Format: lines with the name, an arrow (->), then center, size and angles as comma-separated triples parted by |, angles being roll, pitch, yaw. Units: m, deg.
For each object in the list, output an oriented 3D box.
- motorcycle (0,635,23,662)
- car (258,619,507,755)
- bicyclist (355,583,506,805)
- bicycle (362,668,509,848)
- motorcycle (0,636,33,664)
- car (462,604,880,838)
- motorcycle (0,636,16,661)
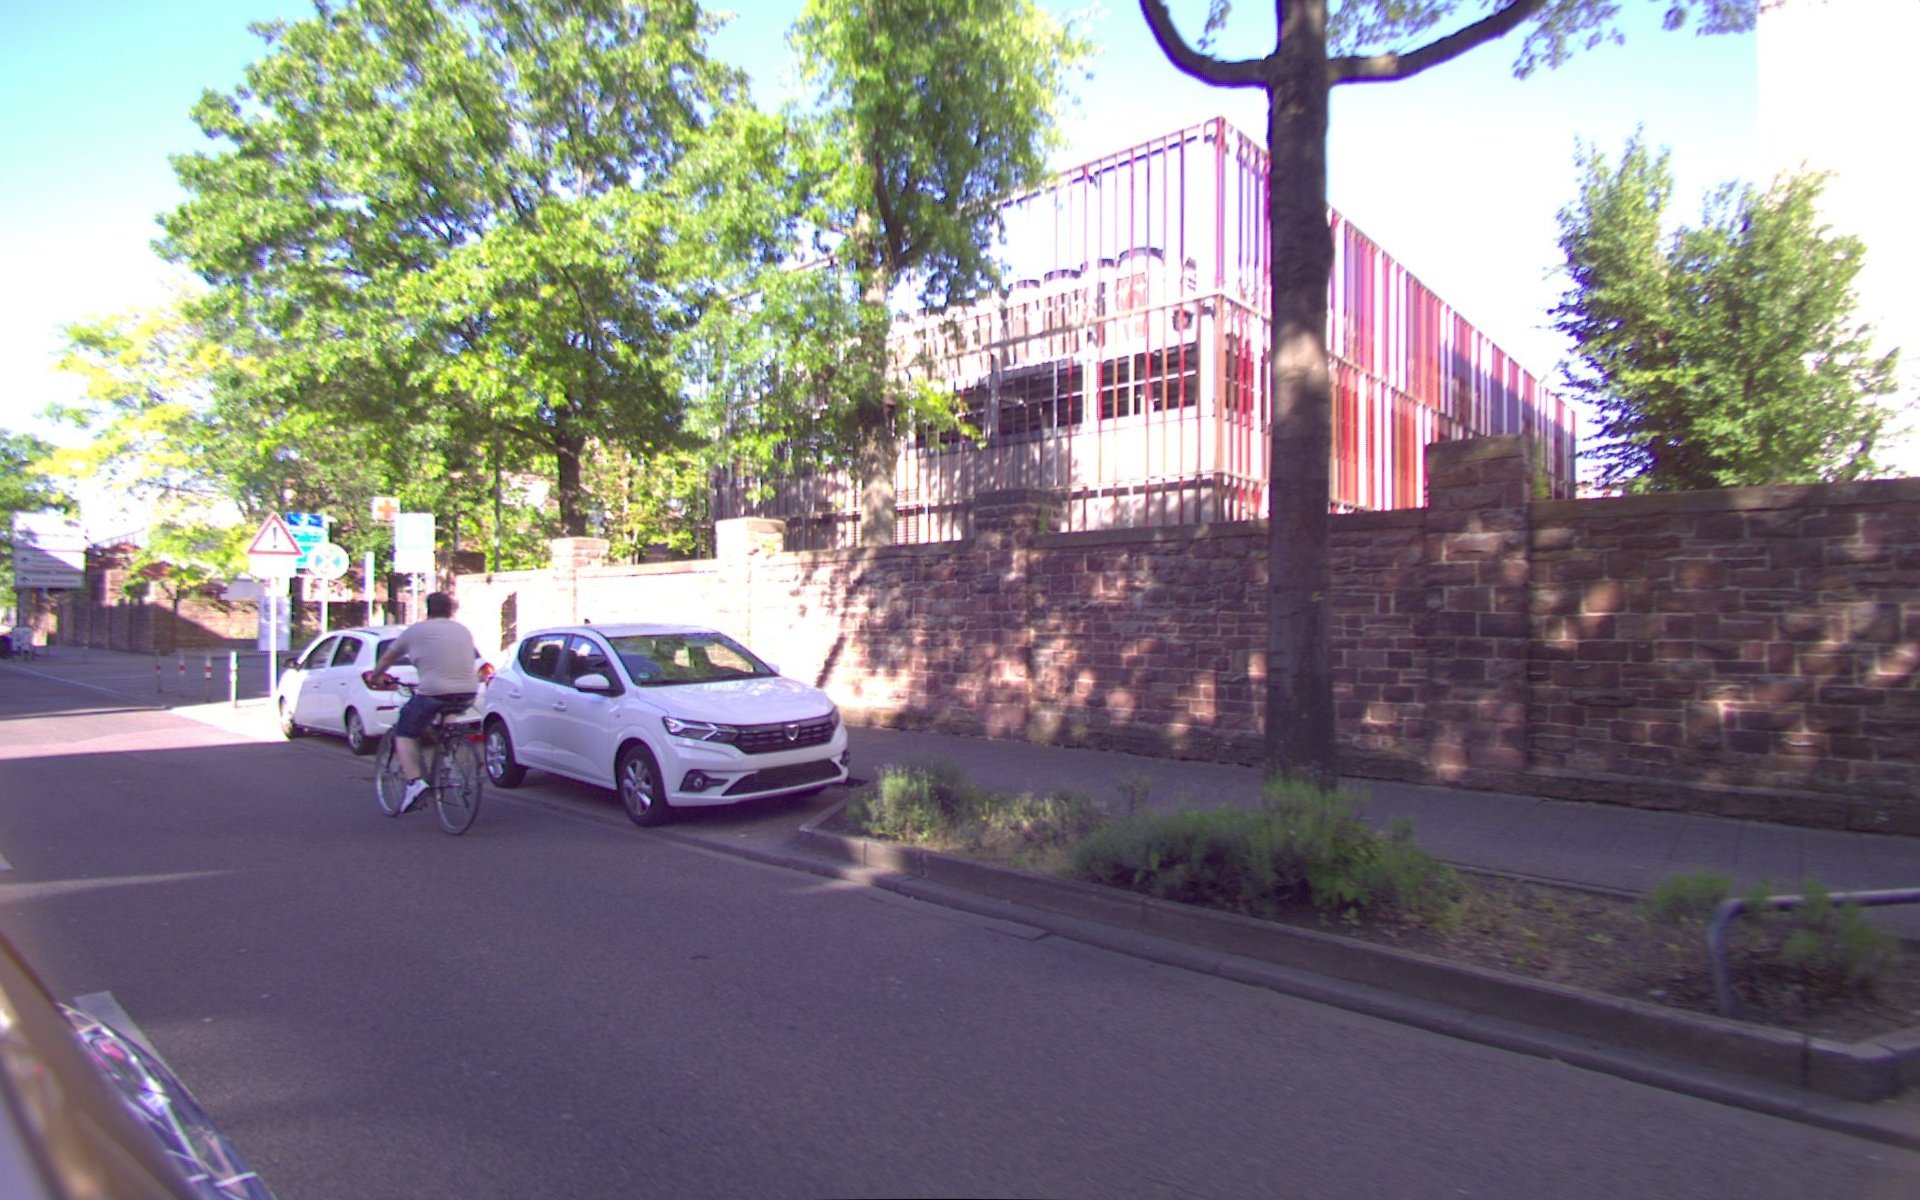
motorcycle -> -39.515, 2.005, 41.692 | 0.523, 1.047, 2.097 | -1, -1, -18
car -> -7.486, 1.007, 12.987 | 3.748, 1.412, 1.558 | -1, 2, 40
bicyclist -> -3.992, 0.649, 7.609 | 1.005, 1.534, 0.713 | -1, 0, 44
bicycle -> -3.961, 1.113, 7.571 | 1.865, 1.129, 0.353 | -1, 0, 43
motorcycle -> -37.380, 1.954, 39.696 | 0.591, 1.040, 2.133 | 0, -2, -15
car -> -2.641, 0.856, 8.780 | 3.848, 1.522, 1.659 | -1, 1, 42
motorcycle -> -40.612, 2.061, 42.534 | 0.523, 1.047, 2.097 | -1, -1, -18
